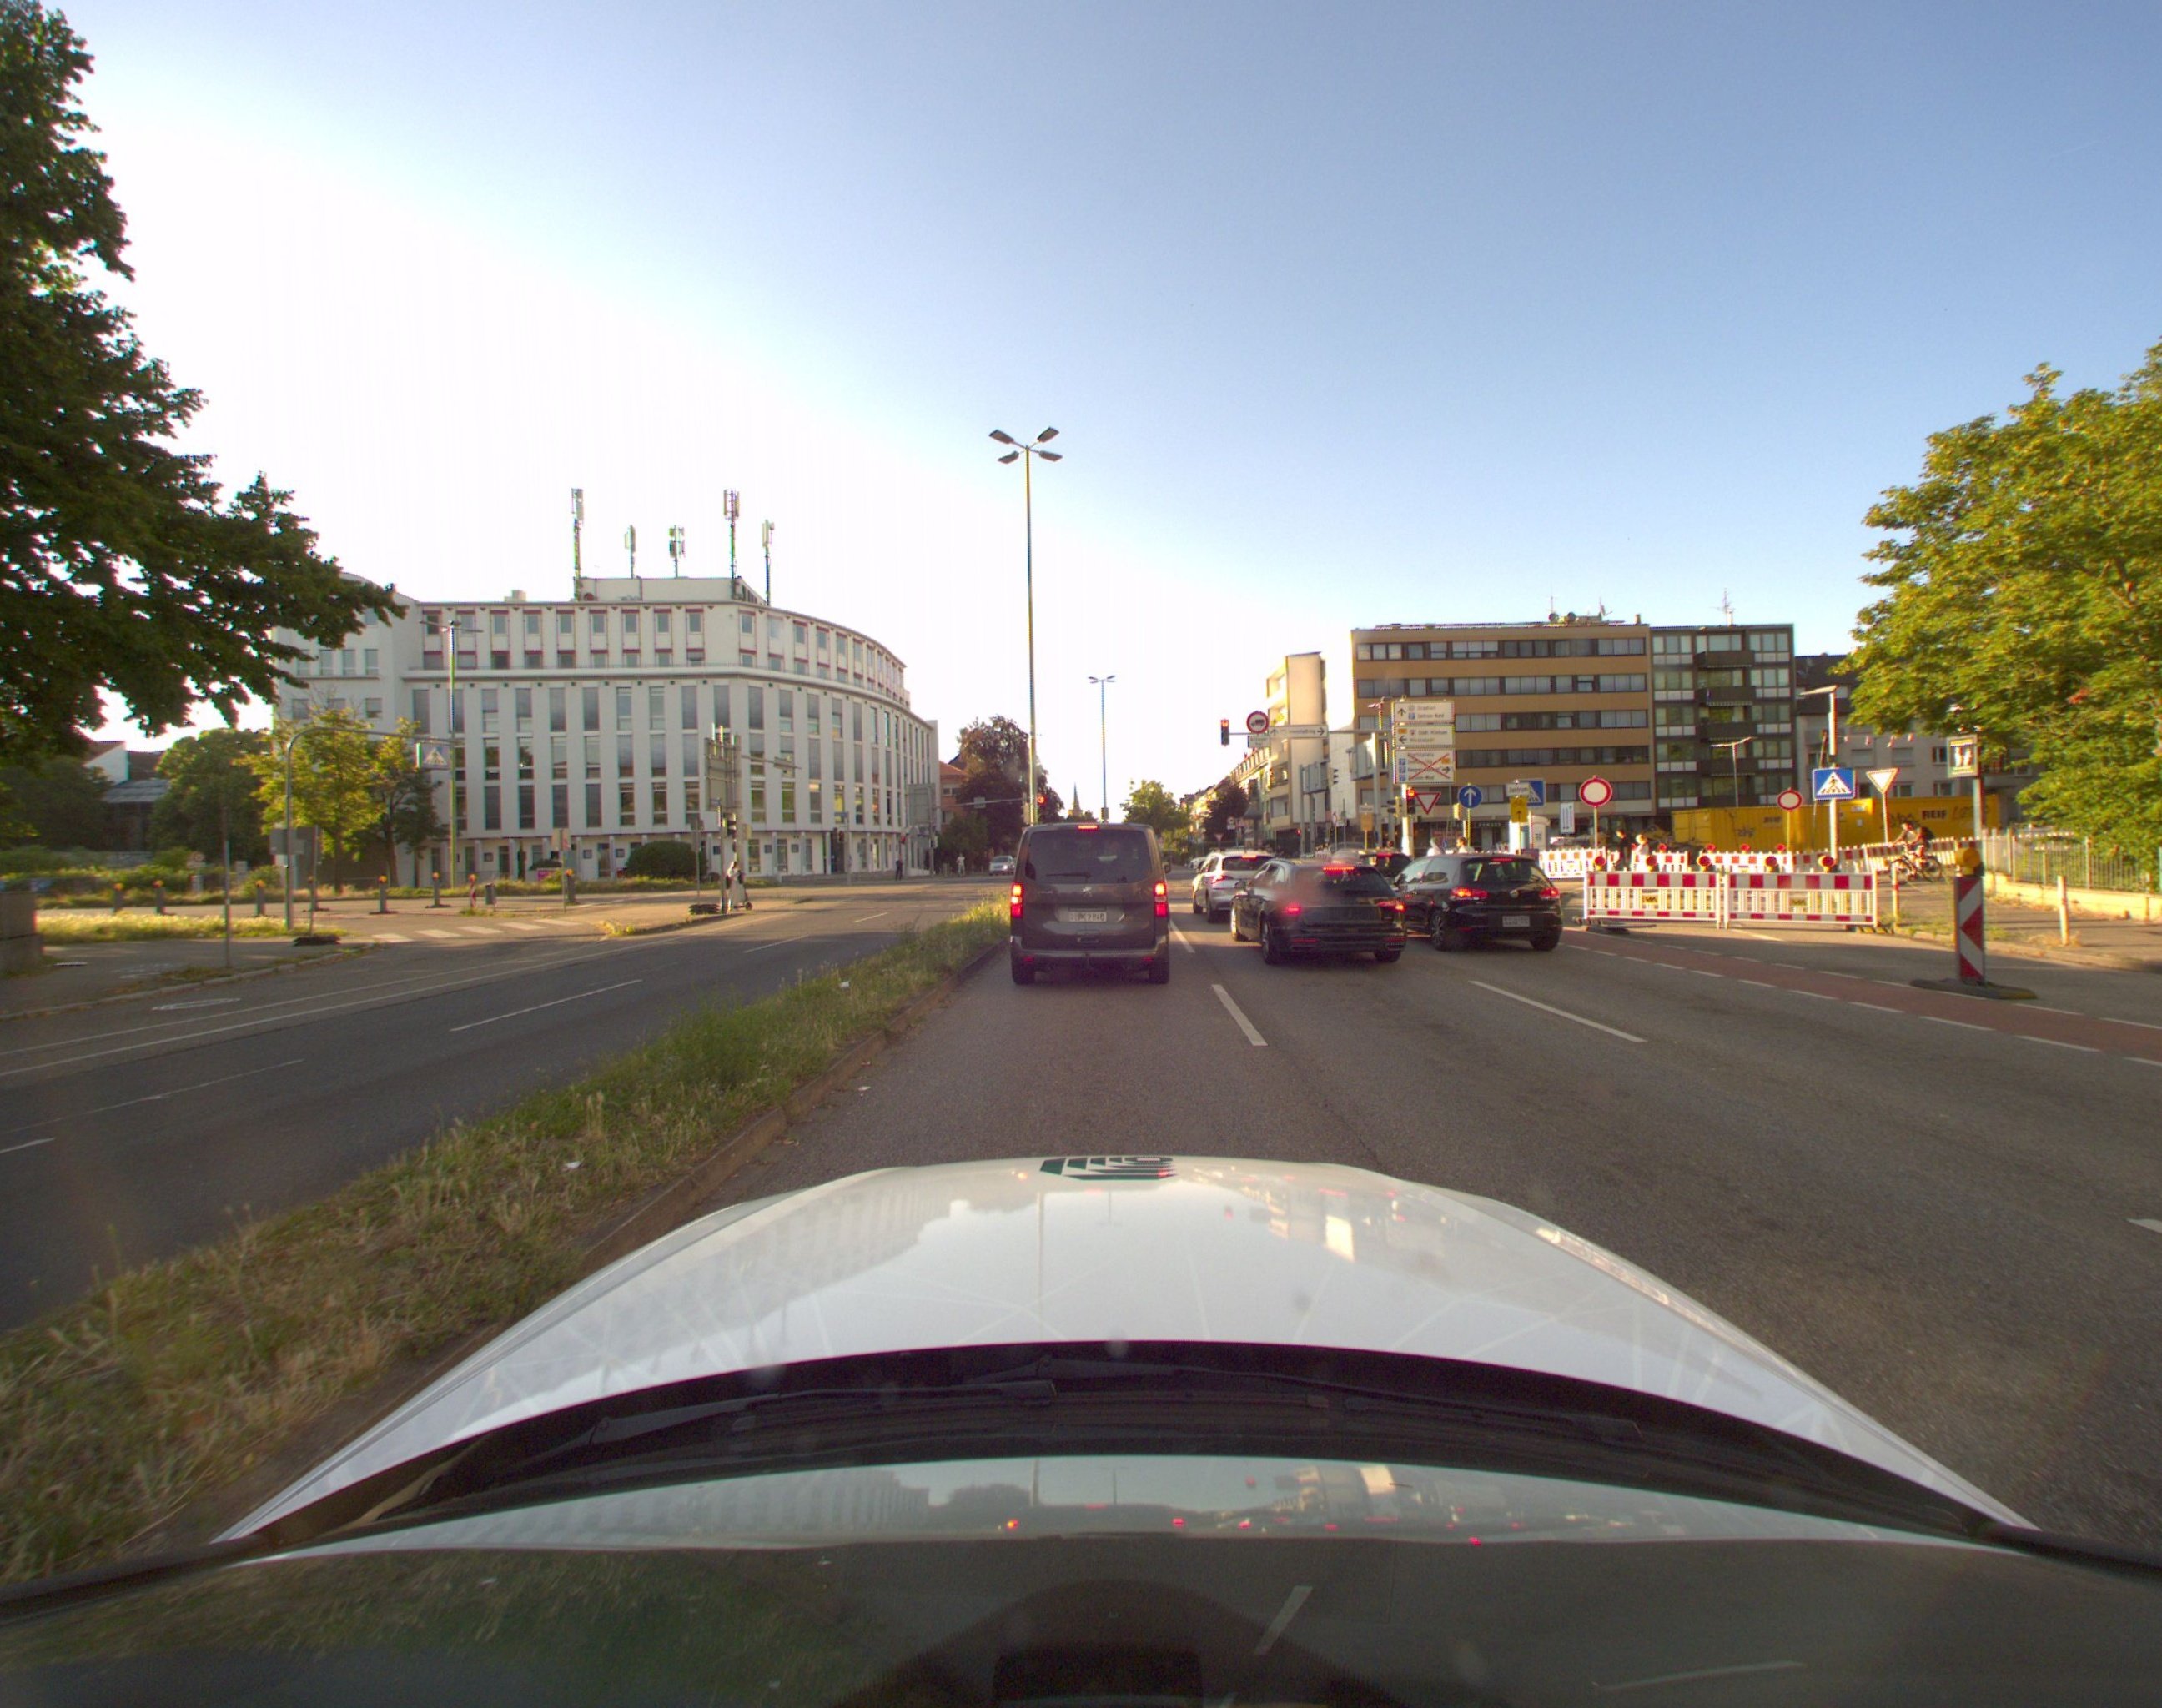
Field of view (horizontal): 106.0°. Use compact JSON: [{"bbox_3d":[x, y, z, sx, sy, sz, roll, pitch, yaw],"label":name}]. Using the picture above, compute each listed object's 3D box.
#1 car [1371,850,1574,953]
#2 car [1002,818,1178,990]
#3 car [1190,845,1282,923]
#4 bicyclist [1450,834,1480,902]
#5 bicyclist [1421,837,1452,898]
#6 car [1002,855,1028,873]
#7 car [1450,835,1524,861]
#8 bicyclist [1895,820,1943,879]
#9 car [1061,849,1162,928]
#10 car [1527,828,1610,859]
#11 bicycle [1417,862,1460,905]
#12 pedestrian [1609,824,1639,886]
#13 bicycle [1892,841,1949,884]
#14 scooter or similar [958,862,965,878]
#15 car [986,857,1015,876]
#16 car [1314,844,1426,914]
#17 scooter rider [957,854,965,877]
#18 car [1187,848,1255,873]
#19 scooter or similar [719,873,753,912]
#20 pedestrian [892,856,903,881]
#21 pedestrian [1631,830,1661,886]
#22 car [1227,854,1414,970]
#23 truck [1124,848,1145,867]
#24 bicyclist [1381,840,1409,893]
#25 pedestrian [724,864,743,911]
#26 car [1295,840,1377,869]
[{"bbox_3d":[6.199,0.666,13.382,1.627,1.449,3.747,0,0,2],"label":"car"},{"bbox_3d":[0.174,0.537,11.112,1.899,1.863,4.528,0,0,2],"label":"car"},{"bbox_3d":[3.445,0.611,18.664,1.523,1.613,3.747,0,0,2],"label":"car"},{"bbox_3d":[8.827,0.323,18.725,0.439,1.525,0.482,-2,0,2],"label":"bicyclist"},{"bbox_3d":[9.102,0.339,20.878,0.439,1.525,0.726,-2,0,2],"label":"bicyclist"},{"bbox_3d":[-5.832,0.883,72.222,1.850,1.420,4.000,-2,0,0],"label":"car"},{"bbox_3d":[25.093,-0.389,50.401,3.661,1.387,1.697,-3,0,0],"label":"car"},{"bbox_3d":[23.220,-0.134,22.577,0.812,1.589,0.617,-1,1,-14],"label":"bicyclist"},{"bbox_3d":[0.686,0.690,18.456,1.986,1.530,4.002,-2,0,2],"label":"car"},{"bbox_3d":[31.599,-0.648,52.866,4.199,1.817,2.001,-2,0,2],"label":"car"},{"bbox_3d":[9.103,0.724,20.795,0.335,1.008,1.857,-2,0,2],"label":"bicycle"},{"bbox_3d":[16.252,0.025,24.378,0.573,1.834,0.483,-2,0,-28],"label":"pedestrian"},{"bbox_3d":[23.252,0.216,22.559,1.496,1.161,0.372,0,1,-13],"label":"bicycle"},{"bbox_3d":[-9.174,1.227,62.439,0.284,1.188,1.170,-2,0,2],"label":"scooter or similar"},{"bbox_3d":[-6.510,1.027,66.298,1.850,1.420,4.000,-2,0,0],"label":"car"},{"bbox_3d":[6.615,0.522,18.967,1.499,1.449,3.306,-2,0,2],"label":"car"},{"bbox_3d":[-9.192,0.862,62.438,0.479,1.697,0.636,-2,0,2],"label":"scooter rider"},{"bbox_3d":[9.028,0.404,52.547,3.982,1.420,1.784,-2,0,-6],"label":"car"},{"bbox_3d":[-11.260,1.241,26.590,0.893,1.234,0.370,-2,0,-10],"label":"scooter or similar"},{"bbox_3d":[-12.472,0.982,55.305,0.626,1.722,0.669,-2,0,-12],"label":"pedestrian"},{"bbox_3d":[17.042,0.125,24.578,0.604,1.671,0.451,-2,0,-22],"label":"pedestrian"},{"bbox_3d":[3.330,0.715,12.135,1.675,1.421,4.216,0,0,2],"label":"car"},{"bbox_3d":[6.083,0.400,92.351,2.120,2.086,4.632,-2,0,1],"label":"truck"},{"bbox_3d":[9.177,0.362,23.814,0.511,1.525,0.726,-2,0,2],"label":"bicyclist"},{"bbox_3d":[-11.382,1.106,26.681,0.474,1.505,0.334,-2,0,-10],"label":"pedestrian"},{"bbox_3d":[15.420,0.035,49.330,4.331,1.549,1.785,-2,0,-5],"label":"car"}]
